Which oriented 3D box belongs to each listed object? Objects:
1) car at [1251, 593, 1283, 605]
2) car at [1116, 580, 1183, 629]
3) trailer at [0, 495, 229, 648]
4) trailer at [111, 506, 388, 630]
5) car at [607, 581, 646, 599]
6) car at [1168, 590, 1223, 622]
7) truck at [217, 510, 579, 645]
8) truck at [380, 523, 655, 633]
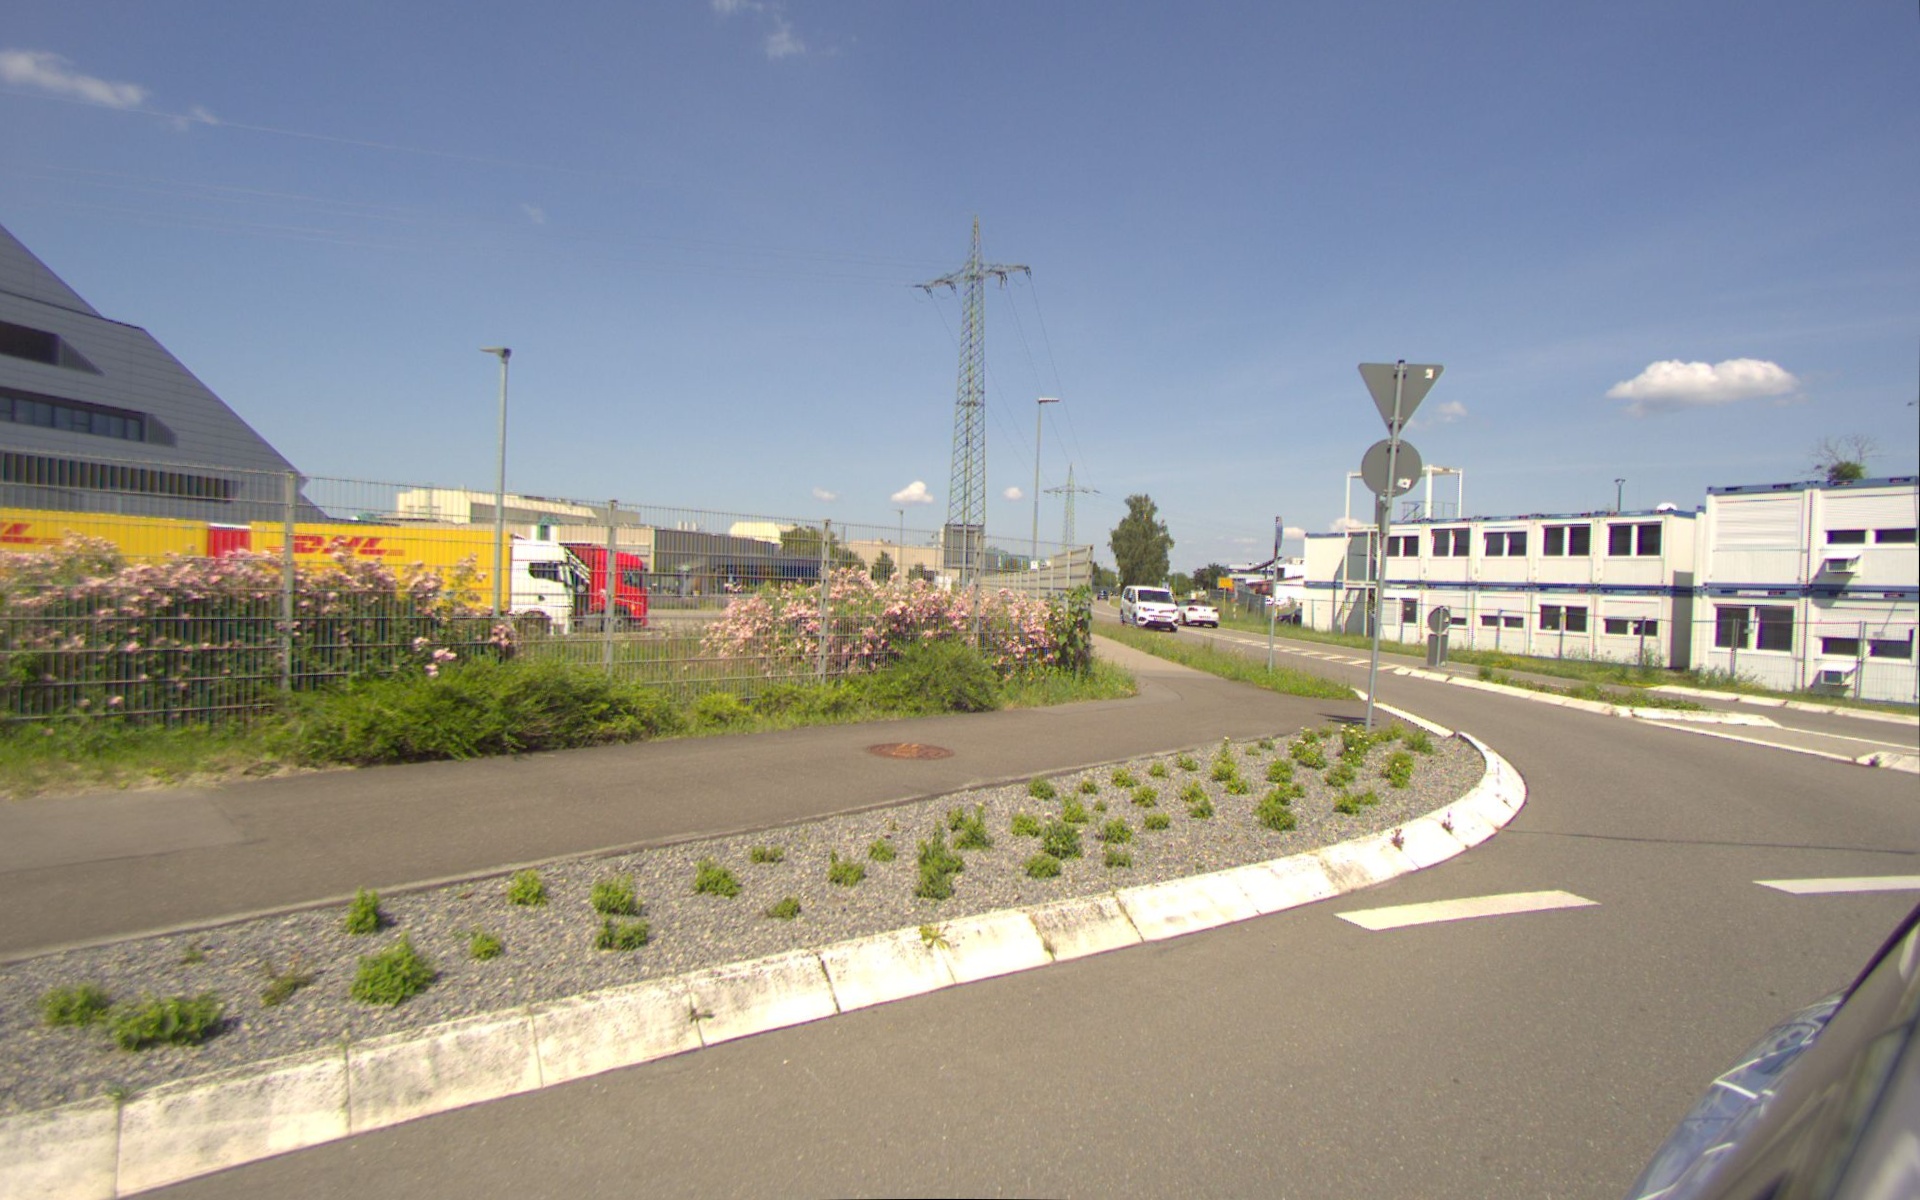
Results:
[{"bbox_3d":[40.690,-0.122,134.096,3.940,1.359,1.741,2,1,13],"label":"car"},{"bbox_3d":[7.945,0.122,42.836,1.803,1.829,4.830,3,1,0],"label":"car"},{"bbox_3d":[-27.445,-0.859,30.589,8.551,4.349,2.902,2,2,-36],"label":"trailer"},{"bbox_3d":[-27.603,-1.148,39.932,8.543,4.349,3.032,2,2,-32],"label":"trailer"},{"bbox_3d":[-31.252,-0.922,94.893,3.097,1.553,1.453,2,1,6],"label":"car"},{"bbox_3d":[12.009,0.347,51.844,1.741,1.447,4.051,3,-2,-2],"label":"car"},{"bbox_3d":[-19.547,-0.654,35.978,10.757,4.224,2.826,2,2,-32],"label":"truck"},{"bbox_3d":[-19.518,-0.885,45.136,10.758,4.308,3.032,2,2,-33],"label":"truck"}]
